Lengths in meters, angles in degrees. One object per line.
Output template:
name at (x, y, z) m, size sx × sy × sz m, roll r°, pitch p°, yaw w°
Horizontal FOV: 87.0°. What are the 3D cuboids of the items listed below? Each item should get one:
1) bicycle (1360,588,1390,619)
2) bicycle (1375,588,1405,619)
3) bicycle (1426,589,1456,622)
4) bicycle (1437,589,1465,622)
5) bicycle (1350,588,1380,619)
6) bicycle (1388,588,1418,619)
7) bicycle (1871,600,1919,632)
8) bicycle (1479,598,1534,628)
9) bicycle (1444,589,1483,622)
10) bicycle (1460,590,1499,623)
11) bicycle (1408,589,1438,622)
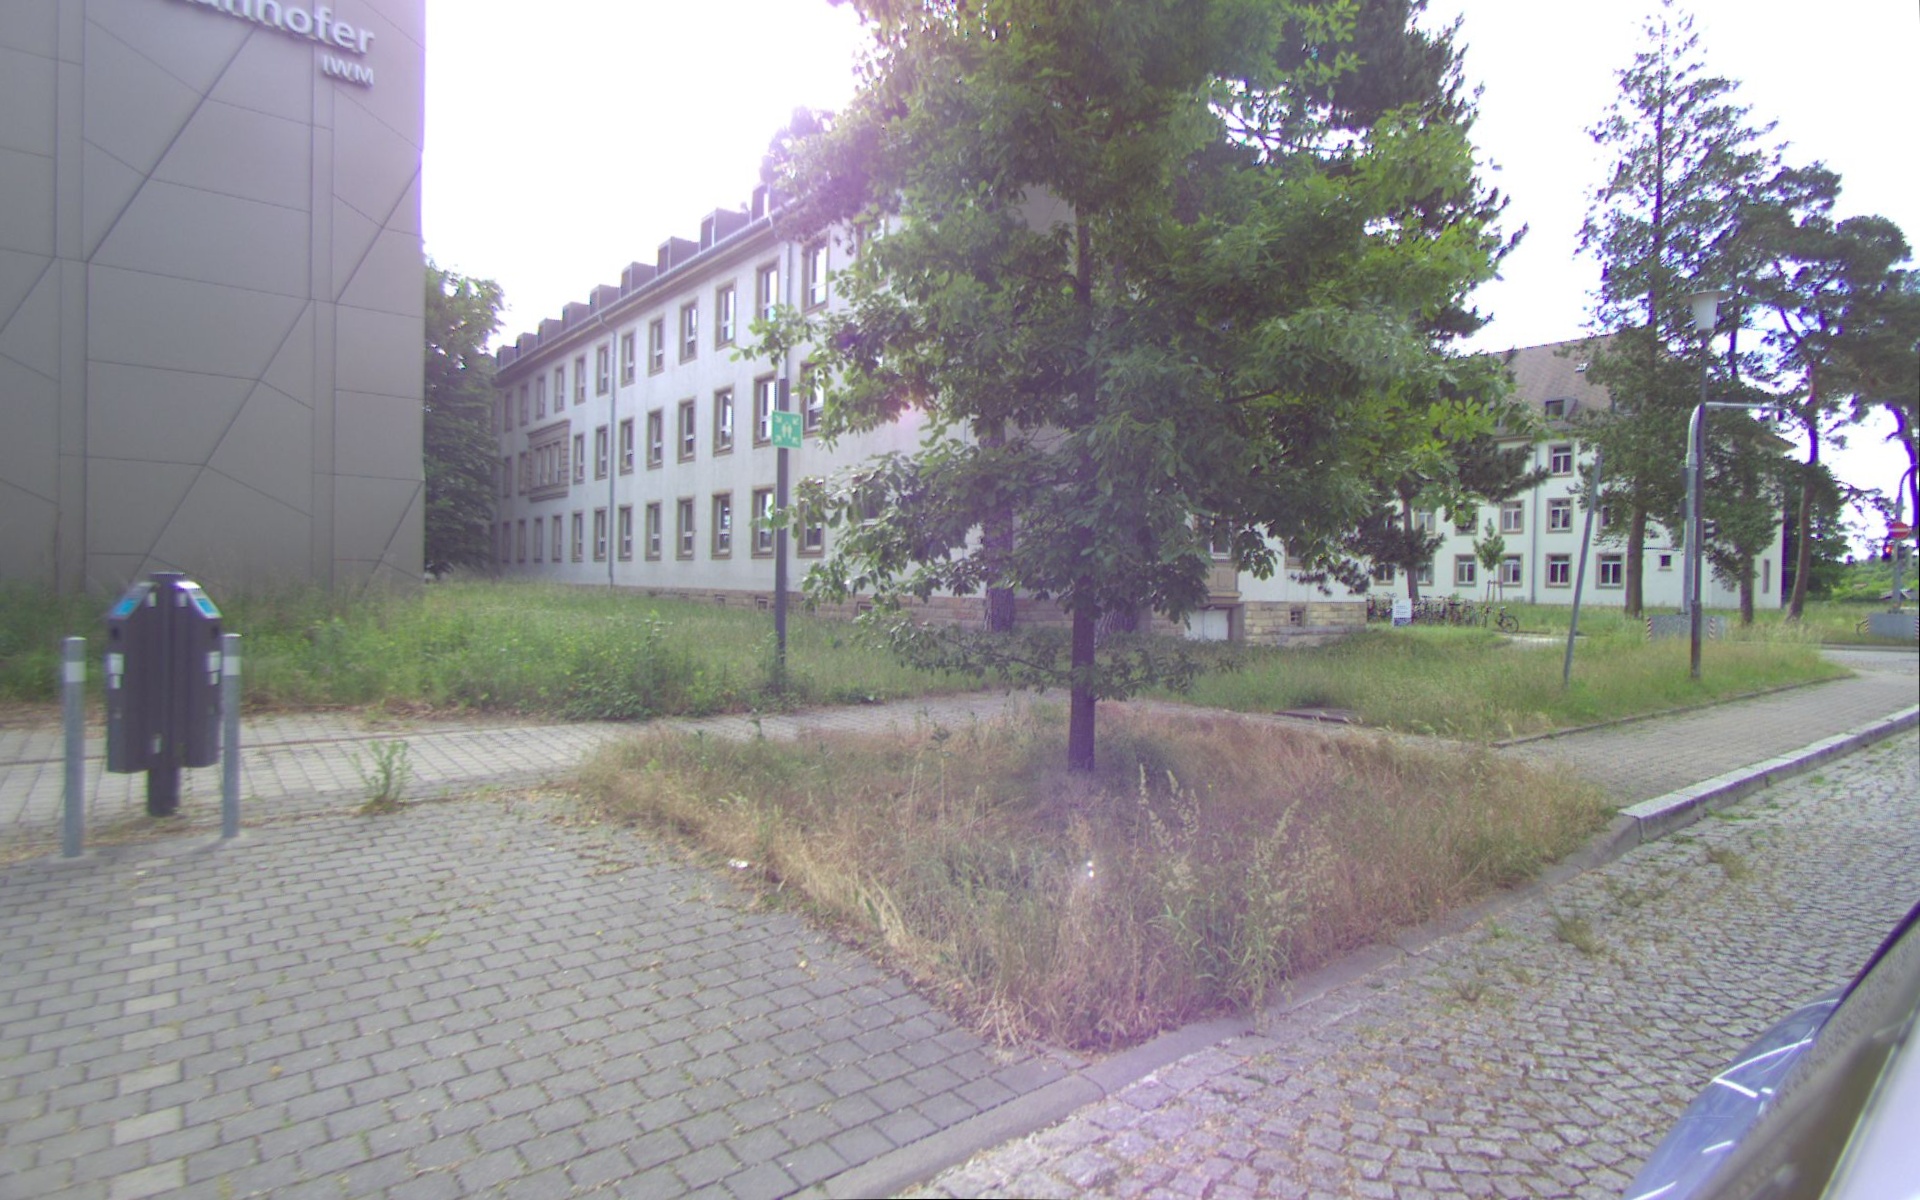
bicycle at (18.593, 0.153, 45.281) m, size 1.808 × 1.348 × 0.571 m, roll 0°, pitch 1°, yaw -45°
bicycle at (19.009, 0.153, 44.688) m, size 1.808 × 1.348 × 0.571 m, roll 0°, pitch 1°, yaw -45°
bicycle at (20.491, 0.239, 43.082) m, size 1.808 × 1.348 × 0.571 m, roll 0°, pitch 1°, yaw -45°
bicycle at (20.755, 0.239, 42.738) m, size 1.808 × 1.348 × 0.481 m, roll 0°, pitch 1°, yaw -45°
bicycle at (18.361, 0.153, 45.883) m, size 1.808 × 1.348 × 0.571 m, roll 0°, pitch 1°, yaw -45°
bicycle at (19.385, 0.152, 44.265) m, size 1.808 × 1.348 × 0.571 m, roll 0°, pitch 1°, yaw -45°
bicycle at (33.888, 0.571, 36.236) m, size 0.563 × 1.098 × 1.835 m, roll -2°, pitch 2°, yaw -40°
bicycle at (21.350, 0.506, 39.556) m, size 0.562 × 1.098 × 1.838 m, roll -2°, pitch 2°, yaw -36°
bicycle at (21.059, 0.239, 42.344) m, size 1.802 × 1.348 × 0.573 m, roll 1°, pitch 1°, yaw -32°
bicycle at (21.540, 0.255, 41.930) m, size 1.802 × 1.348 × 0.573 m, roll 1°, pitch 1°, yaw -32°
bicycle at (19.962, 0.233, 43.636) m, size 1.808 × 1.348 × 0.571 m, roll 0°, pitch 1°, yaw -45°
